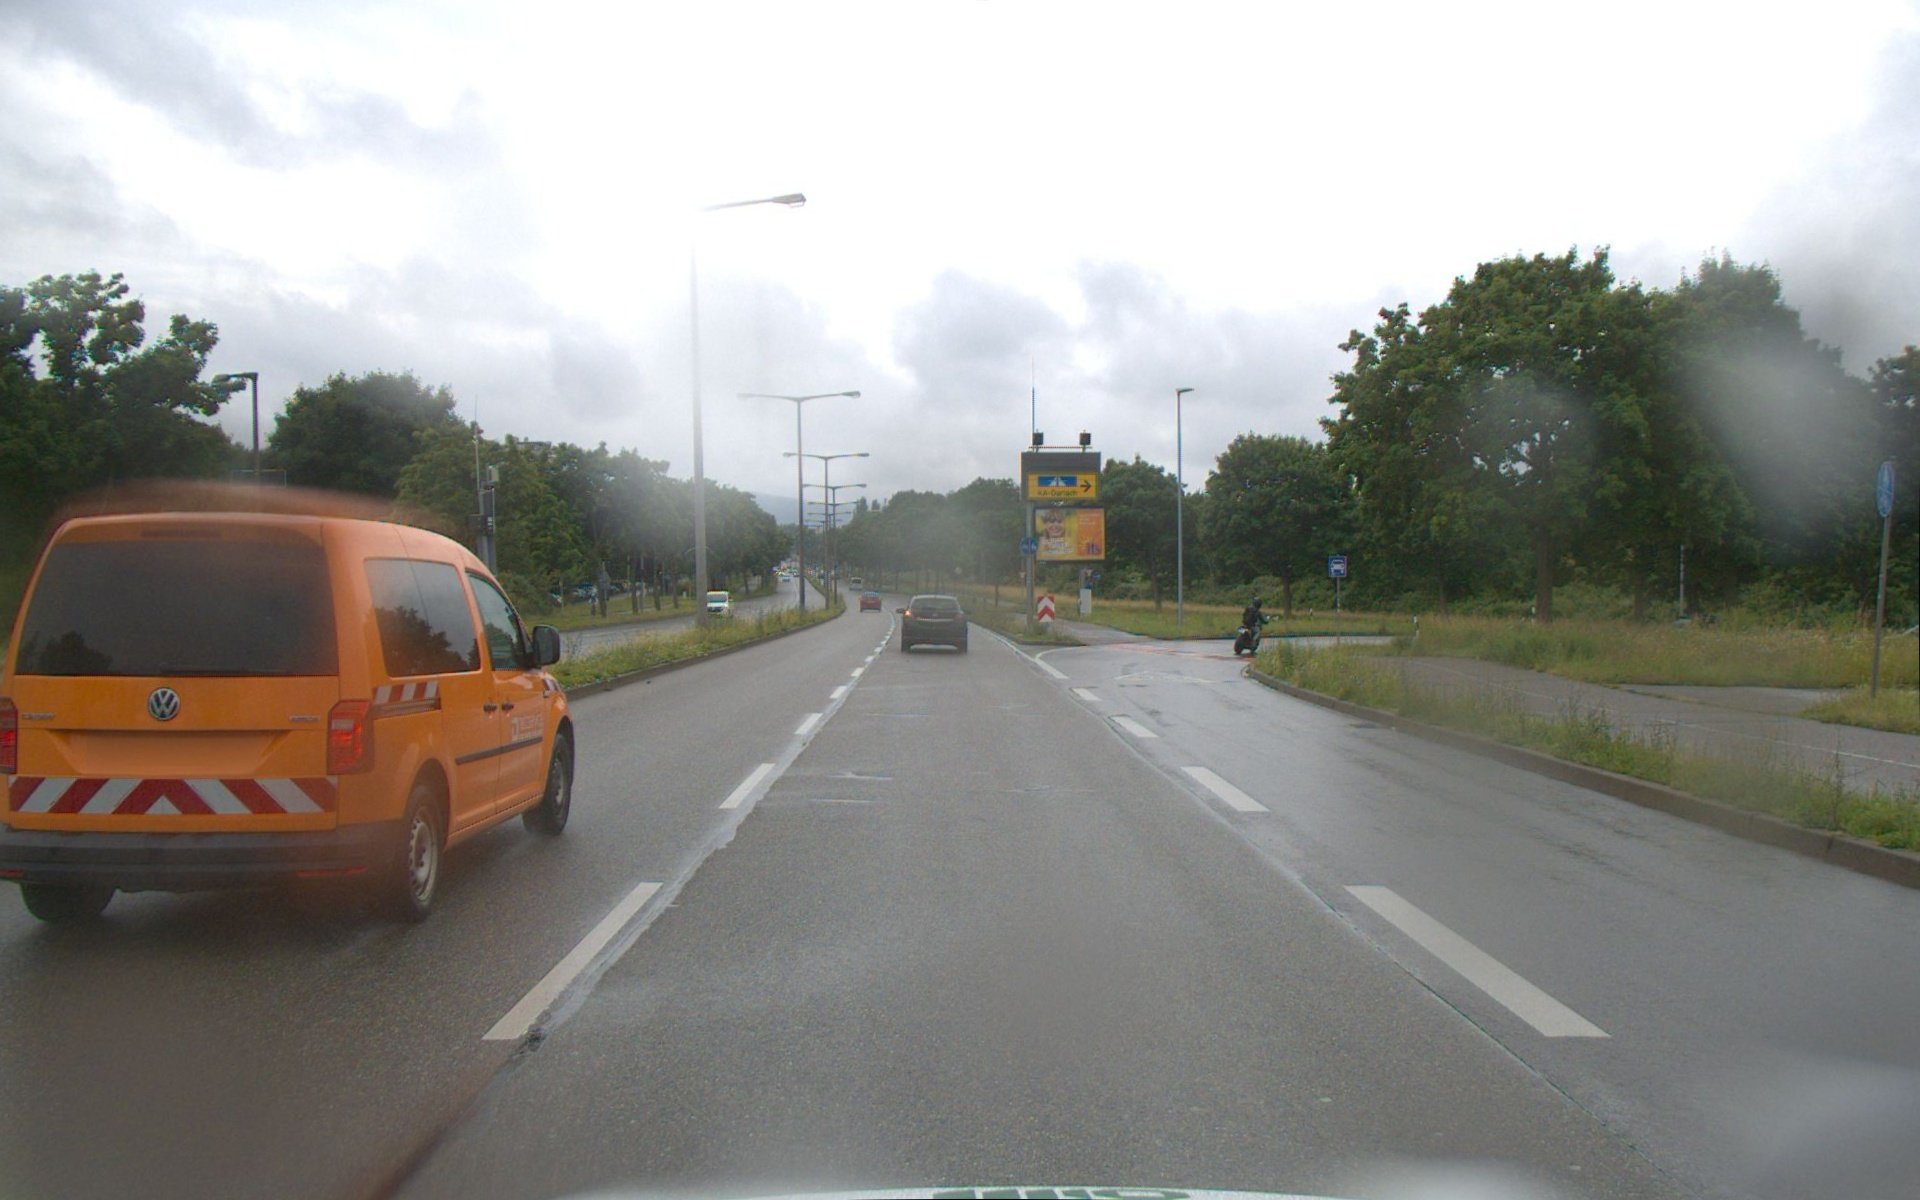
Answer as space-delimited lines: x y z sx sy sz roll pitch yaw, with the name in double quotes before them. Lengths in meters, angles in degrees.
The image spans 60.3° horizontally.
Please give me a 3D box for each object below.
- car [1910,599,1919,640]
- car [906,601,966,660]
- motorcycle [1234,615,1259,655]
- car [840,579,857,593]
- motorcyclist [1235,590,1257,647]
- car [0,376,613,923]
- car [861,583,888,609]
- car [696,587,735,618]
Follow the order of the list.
"car" 49.806 0.990 82.140 4.509 2.009 2.061 1 0 31
"car" -0.638 0.742 42.157 1.434 1.352 3.756 0 1 -2
"motorcycle" 8.671 1.049 50.089 0.588 1.112 1.733 1 1 15
"car" -17.316 -2.226 256.807 2.467 2.088 5.287 -1 0 -6
"motorcyclist" 8.663 0.549 50.064 0.588 1.719 0.861 1 1 15
"car" -3.157 0.190 8.709 1.699 2.054 4.848 1 0 -1
"car" -6.467 -0.311 124.897 1.953 1.912 3.998 0 0 -2
"car" -14.014 0.105 94.972 1.673 1.658 4.490 -3 1 -2
